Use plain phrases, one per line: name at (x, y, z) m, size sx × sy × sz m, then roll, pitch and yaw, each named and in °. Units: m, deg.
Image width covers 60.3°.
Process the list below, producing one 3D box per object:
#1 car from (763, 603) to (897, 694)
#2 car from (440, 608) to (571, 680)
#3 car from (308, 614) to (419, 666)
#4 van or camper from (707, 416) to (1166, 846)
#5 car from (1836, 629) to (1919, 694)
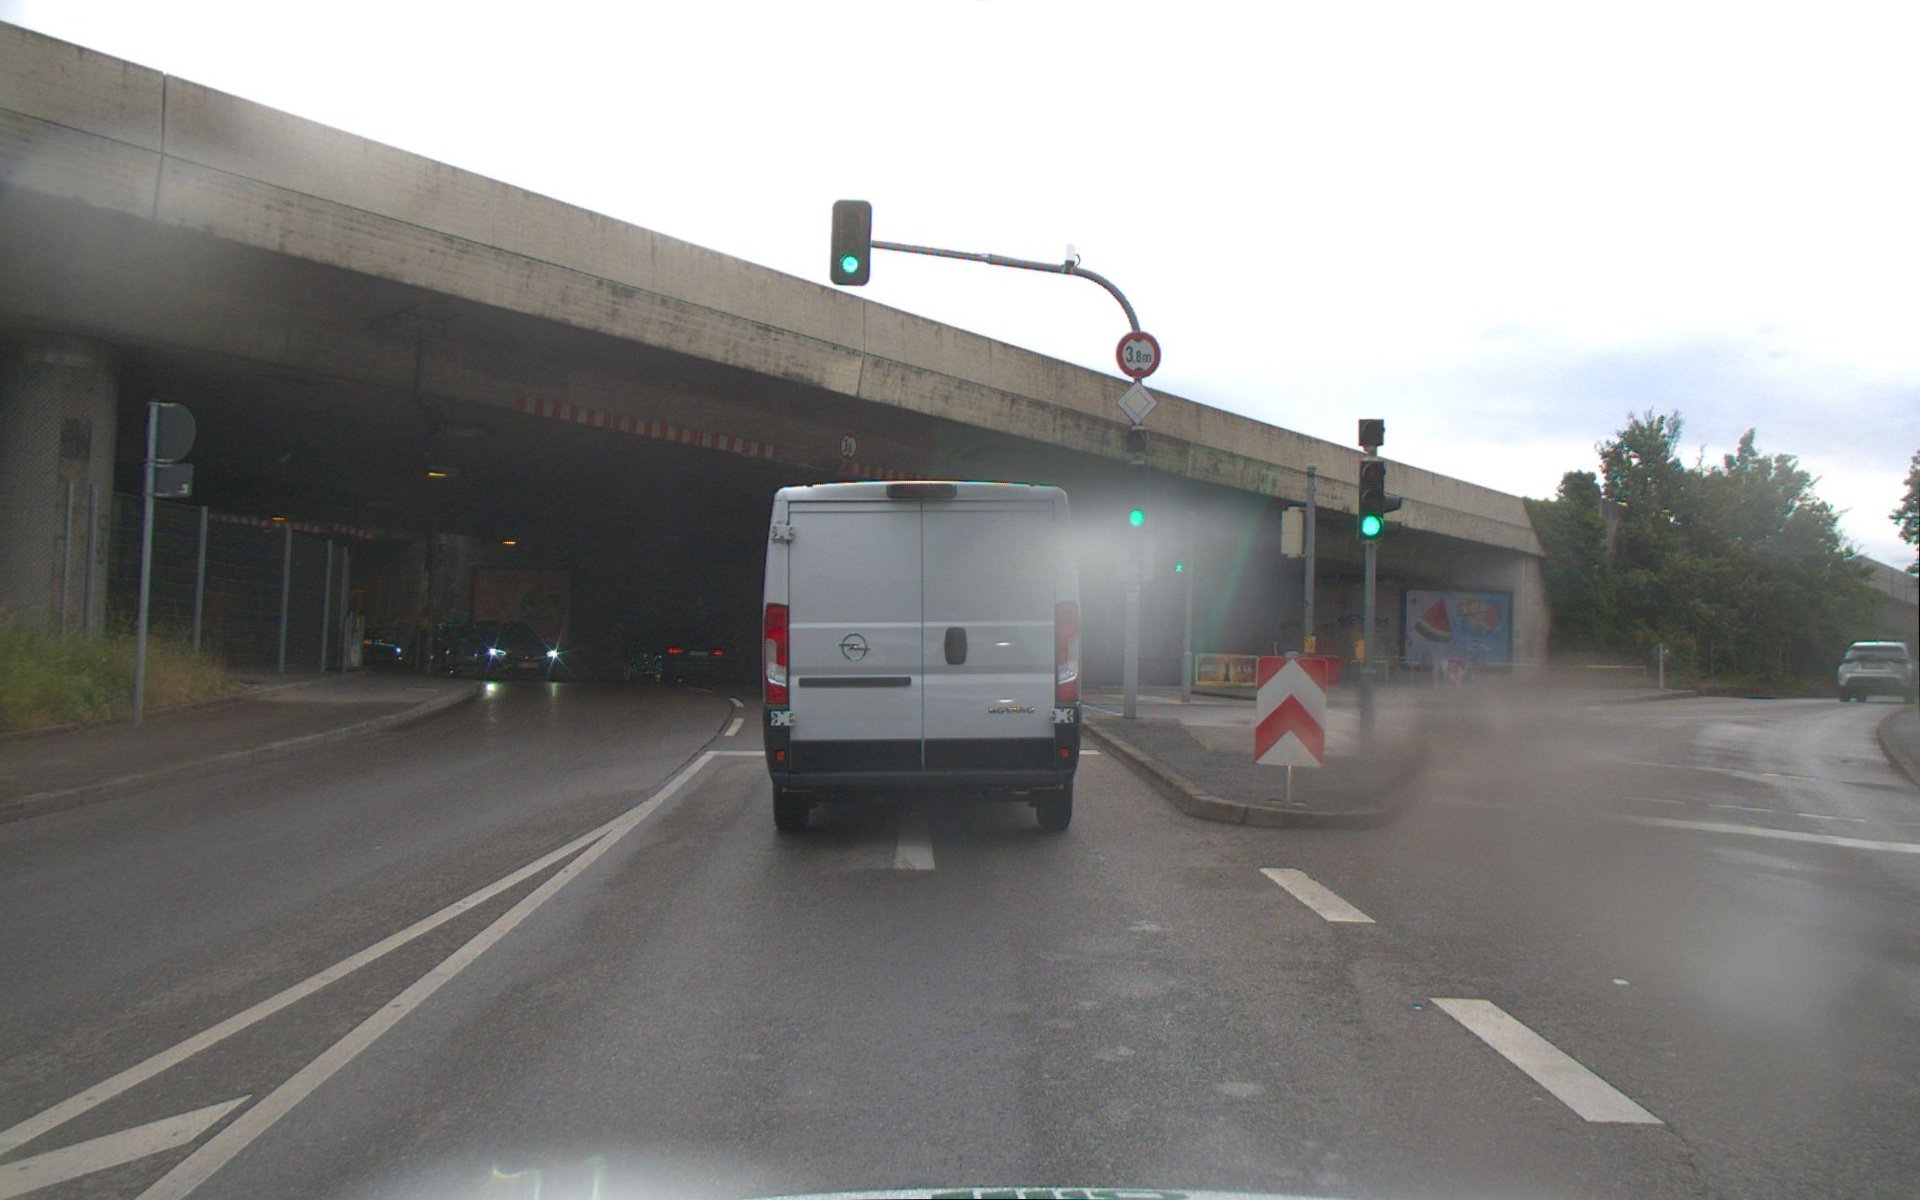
car at (-2.383, 0.870, 29.438) m, size 1.804 × 1.464 × 4.089 m, roll 2°, pitch -2°, yaw -13°
car at (-11.357, 1.065, 41.116) m, size 1.974 × 1.557 × 4.452 m, roll 2°, pitch 0°, yaw -31°
car at (-18.115, 1.227, 50.167) m, size 1.980 × 1.491 × 4.048 m, roll 2°, pitch -3°, yaw -38°
van or camper at (-0.187, 0.202, 12.218) m, size 2.644 × 2.459 × 4.901 m, roll 2°, pitch 0°, yaw -2°
car at (24.200, 1.576, 43.288) m, size 1.843 × 1.557 × 3.987 m, roll 1°, pitch -1°, yaw 34°
